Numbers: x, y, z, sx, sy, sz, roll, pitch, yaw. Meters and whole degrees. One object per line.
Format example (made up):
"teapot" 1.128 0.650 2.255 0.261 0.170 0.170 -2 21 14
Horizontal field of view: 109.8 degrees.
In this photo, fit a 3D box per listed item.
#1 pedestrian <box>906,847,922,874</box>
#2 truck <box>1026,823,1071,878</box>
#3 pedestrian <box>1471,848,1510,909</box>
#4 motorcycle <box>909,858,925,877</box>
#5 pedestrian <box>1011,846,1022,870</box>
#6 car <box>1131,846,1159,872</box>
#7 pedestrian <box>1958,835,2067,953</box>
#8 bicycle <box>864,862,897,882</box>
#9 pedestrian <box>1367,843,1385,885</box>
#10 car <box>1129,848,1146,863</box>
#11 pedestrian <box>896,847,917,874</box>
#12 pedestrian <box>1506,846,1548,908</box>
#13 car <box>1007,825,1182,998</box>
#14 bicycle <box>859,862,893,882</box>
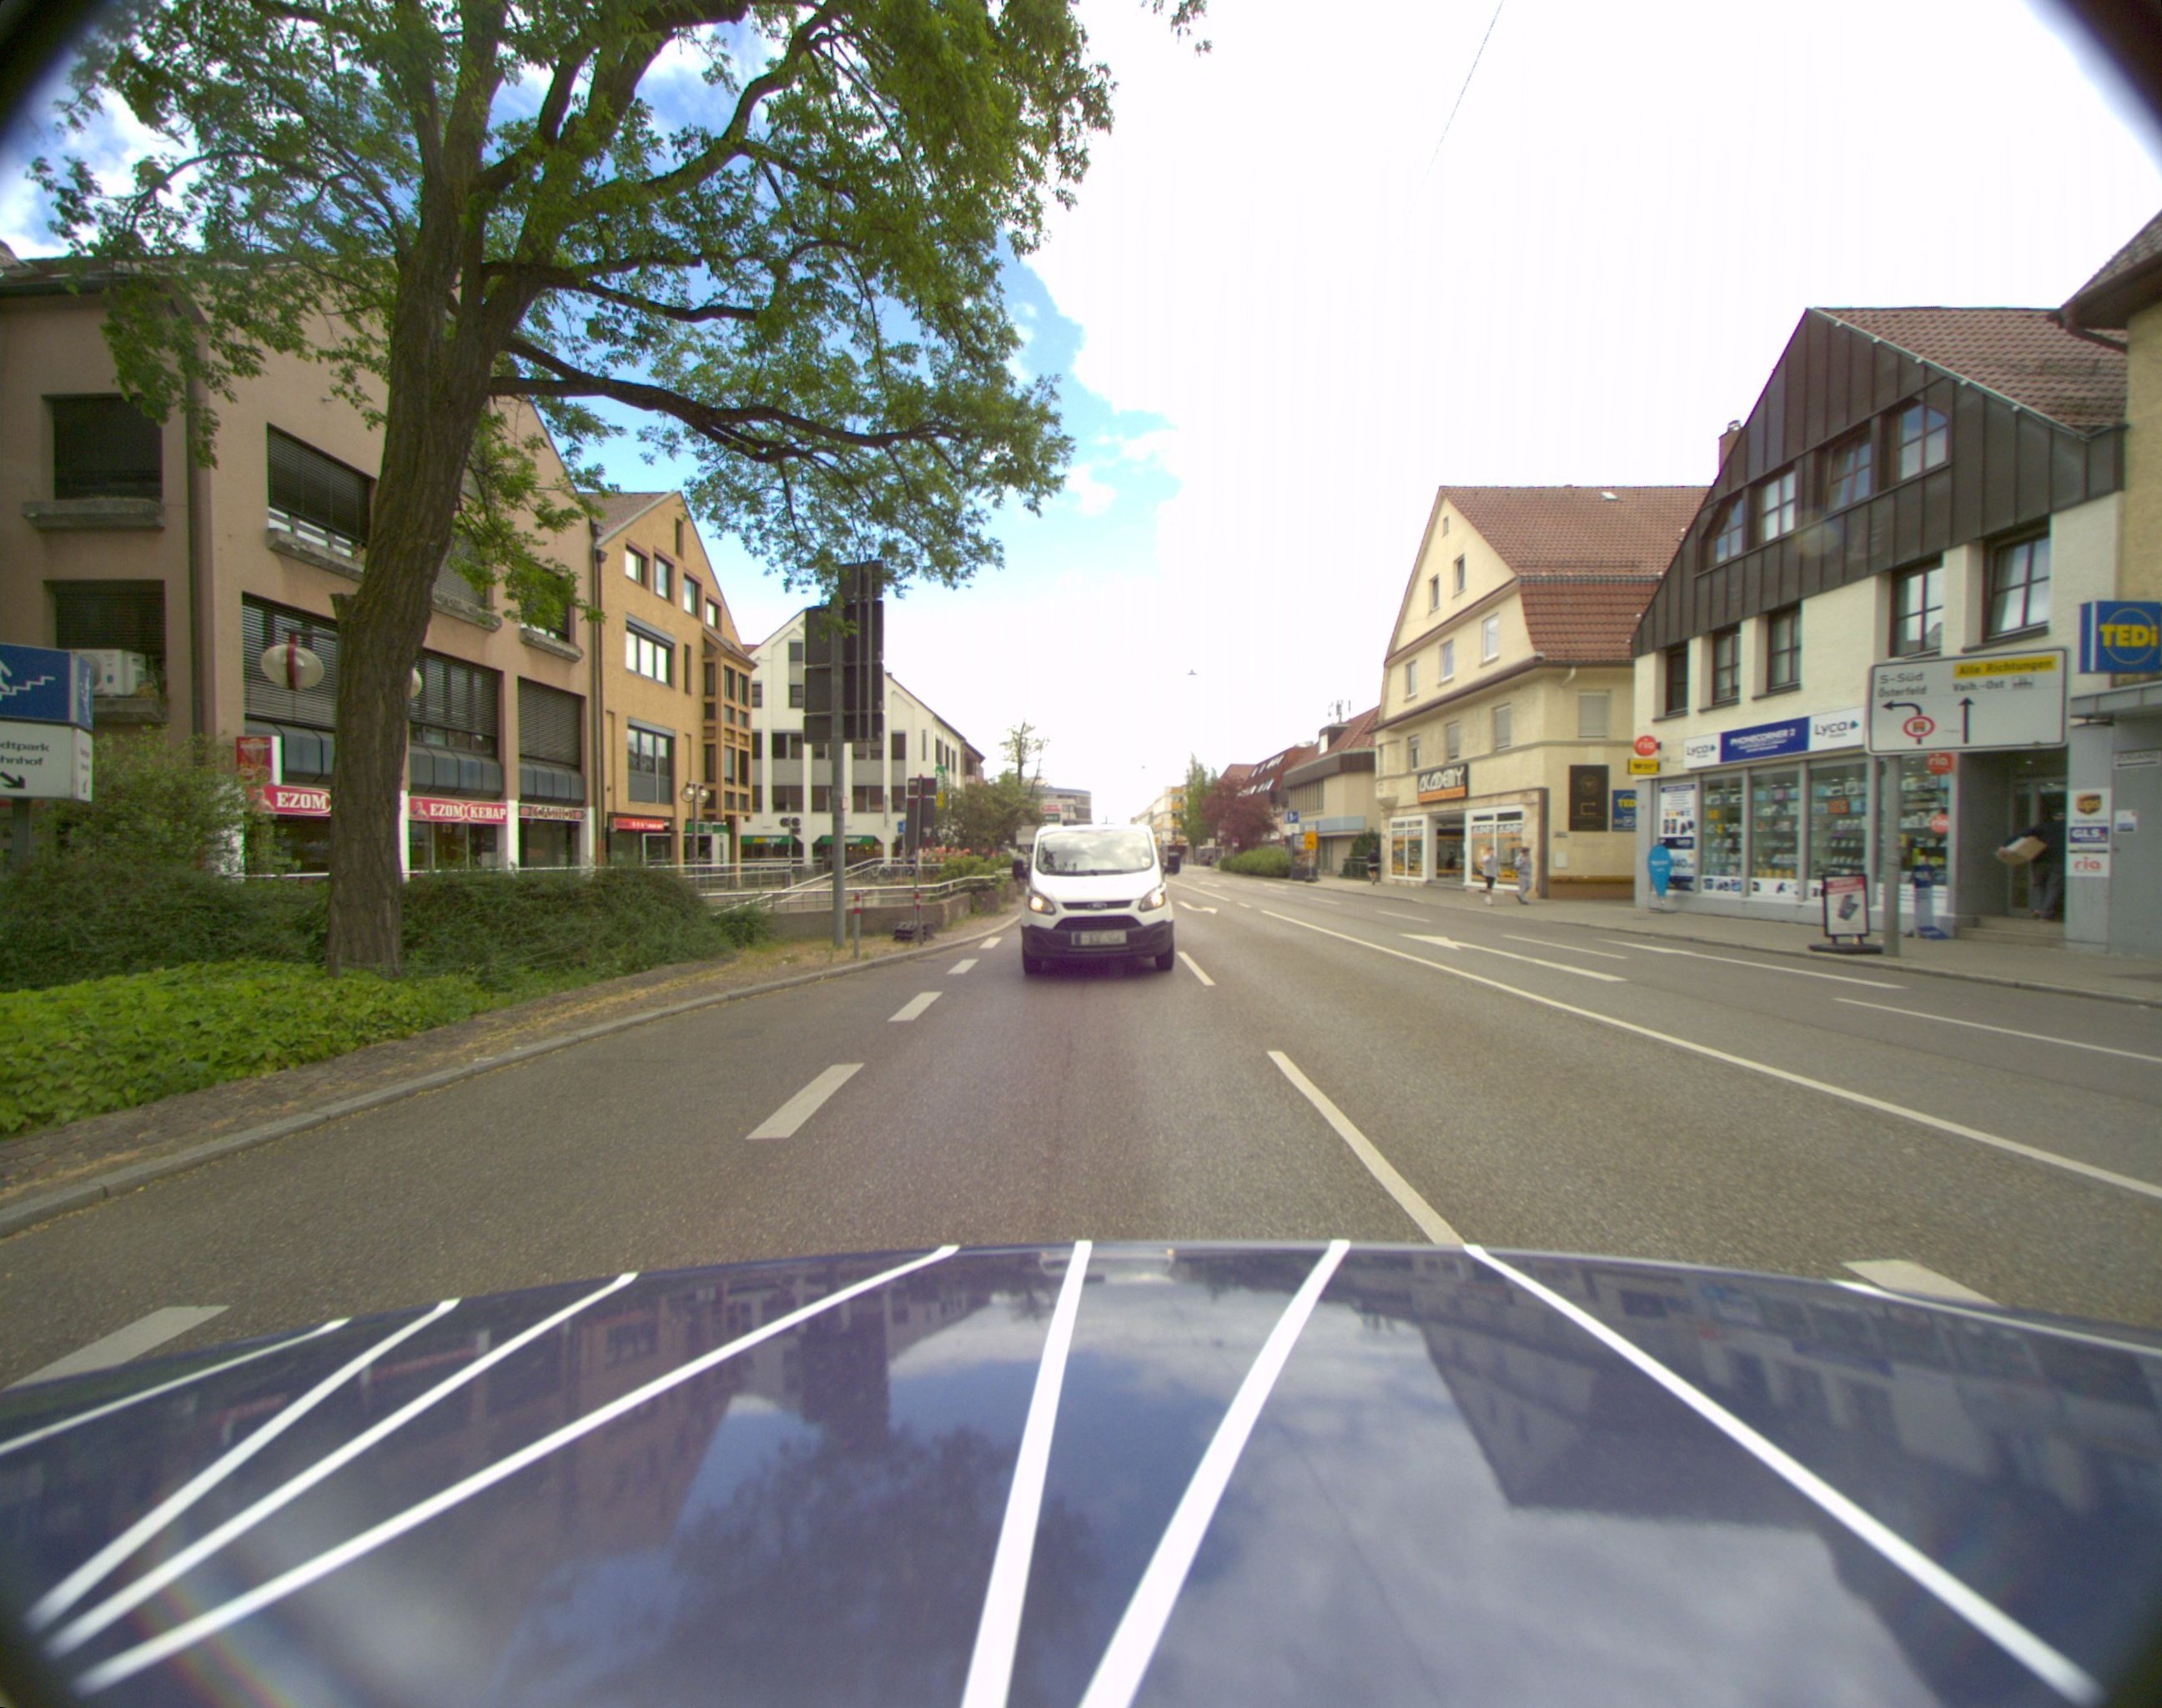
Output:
"pedestrian" -11.135 0.422 50.729 0.871 1.812 0.785 -2 1 -3
"truck" -2.129 -0.291 53.134 2.446 3.464 8.347 -2 1 2
"pedestrian" 11.713 0.684 21.734 0.689 1.680 0.742 -2 1 1
"motorcycle" -9.539 0.774 44.188 0.464 1.062 1.995 0 0 1
"pedestrian" -4.217 0.275 49.813 0.653 1.568 0.684 -1 1 1
"car" 4.785 0.348 57.024 1.748 1.844 4.634 -2 0 2
"pedestrian" 14.120 0.589 11.542 0.688 1.703 0.775 -2 1 1
"bicycle" -10.169 0.903 38.639 1.594 0.963 0.461 0 1 -13
"pedestrian" 13.625 0.463 35.082 0.551 1.878 0.592 -2 1 -3
"car" 7.390 0.166 99.438 1.957 1.898 4.321 0 0 0
"pedestrian" -11.131 0.412 48.483 0.888 1.747 0.942 -1 1 -43
"pedestrian" 12.575 0.636 21.421 0.689 1.660 0.709 -3 1 1
"car" 0.185 0.655 11.336 1.964 1.948 5.164 -2 0 1
"bicycle" -10.220 0.904 37.928 1.594 0.996 0.414 0 1 -12
